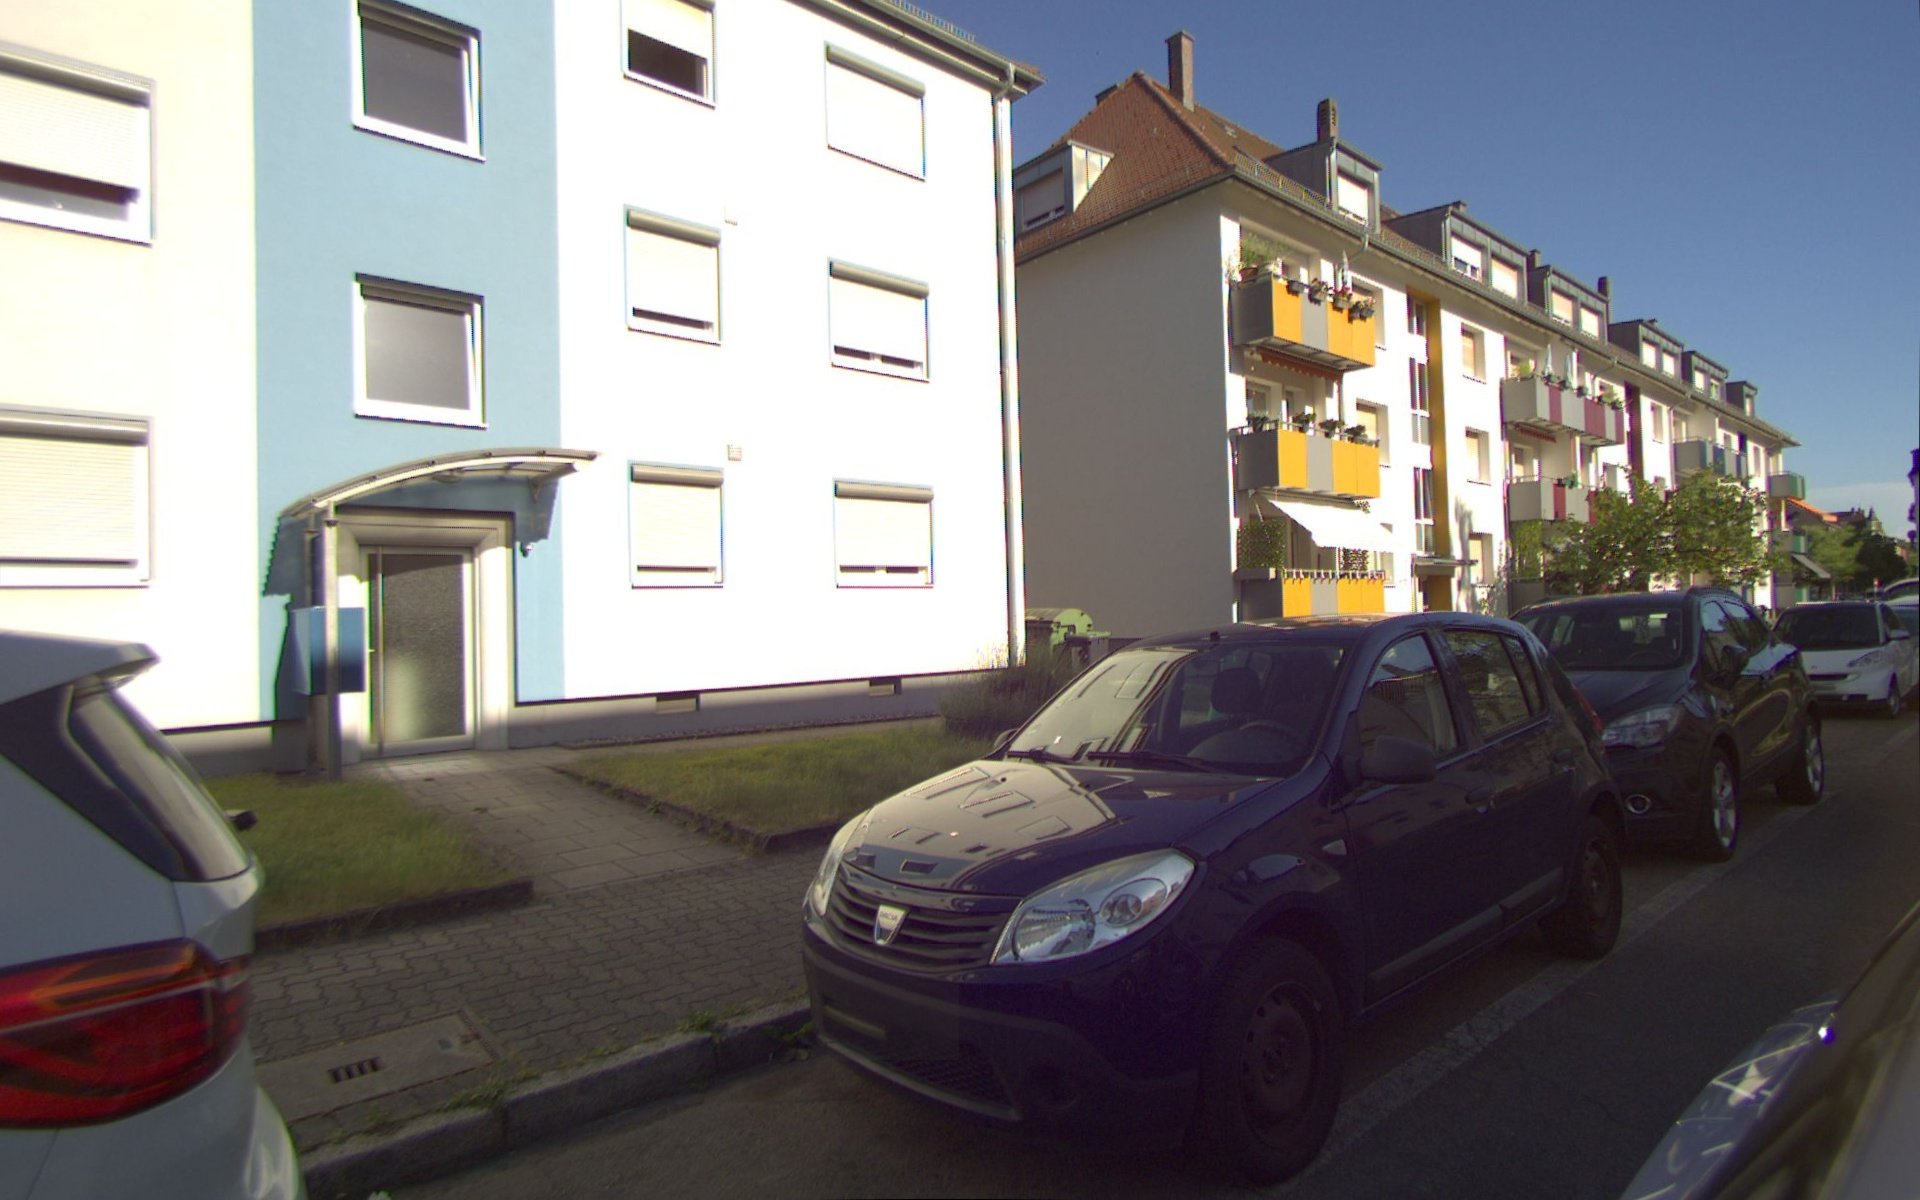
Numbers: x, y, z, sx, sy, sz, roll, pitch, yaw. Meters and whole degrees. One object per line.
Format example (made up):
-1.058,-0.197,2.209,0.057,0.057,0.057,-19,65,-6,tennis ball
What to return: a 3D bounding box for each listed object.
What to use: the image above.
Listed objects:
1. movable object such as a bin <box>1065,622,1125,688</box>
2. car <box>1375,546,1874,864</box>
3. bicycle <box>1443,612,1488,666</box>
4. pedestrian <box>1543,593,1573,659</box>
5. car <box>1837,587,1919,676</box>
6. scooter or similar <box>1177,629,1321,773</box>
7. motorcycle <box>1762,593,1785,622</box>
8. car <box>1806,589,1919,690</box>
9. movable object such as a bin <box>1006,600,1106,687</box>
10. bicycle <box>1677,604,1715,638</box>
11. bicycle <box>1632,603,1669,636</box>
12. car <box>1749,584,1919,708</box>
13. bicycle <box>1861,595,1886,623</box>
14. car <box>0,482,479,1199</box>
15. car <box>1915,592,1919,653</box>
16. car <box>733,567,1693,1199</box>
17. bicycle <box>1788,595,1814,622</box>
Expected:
2.276,0.914,17.099,0.744,1.047,0.644,-3,1,-40,movable object such as a bin
5.050,0.580,7.438,4.389,1.670,1.786,-1,-3,-40,car
11.247,0.853,22.498,1.250,1.147,0.403,0,-2,-40,bicycle
14.064,0.616,23.787,0.354,1.514,0.451,-2,0,-40,pedestrian
19.571,0.560,20.351,4.905,1.634,1.997,-1,-4,-39,car
2.662,0.872,9.246,1.561,1.163,0.484,0,1,-40,scooter or similar
36.693,0.336,45.637,1.942,1.254,0.442,-1,-1,-41,motorcycle
15.644,0.605,16.894,3.916,1.511,1.695,-1,-4,-42,car
1.691,0.739,17.919,1.087,1.424,1.330,-3,1,-40,movable object such as a bin
24.304,0.669,33.418,2.248,1.062,0.521,-1,0,-41,bicycle
23.552,0.660,34.511,1.940,1.050,0.521,-1,-1,-41,bicycle
12.480,0.612,14.137,2.886,1.549,1.483,-1,-4,-37,car
38.703,0.389,42.878,1.841,1.147,0.578,-1,0,-42,bicycle
-2.867,0.725,0.631,4.358,1.595,1.692,-1,-3,-42,car
24.164,0.517,24.052,4.405,1.524,1.773,-1,-3,-43,car
1.331,0.697,4.080,4.083,1.518,1.644,-1,-2,-40,car
37.205,0.374,44.756,1.841,1.130,0.597,-1,-1,-42,bicycle
